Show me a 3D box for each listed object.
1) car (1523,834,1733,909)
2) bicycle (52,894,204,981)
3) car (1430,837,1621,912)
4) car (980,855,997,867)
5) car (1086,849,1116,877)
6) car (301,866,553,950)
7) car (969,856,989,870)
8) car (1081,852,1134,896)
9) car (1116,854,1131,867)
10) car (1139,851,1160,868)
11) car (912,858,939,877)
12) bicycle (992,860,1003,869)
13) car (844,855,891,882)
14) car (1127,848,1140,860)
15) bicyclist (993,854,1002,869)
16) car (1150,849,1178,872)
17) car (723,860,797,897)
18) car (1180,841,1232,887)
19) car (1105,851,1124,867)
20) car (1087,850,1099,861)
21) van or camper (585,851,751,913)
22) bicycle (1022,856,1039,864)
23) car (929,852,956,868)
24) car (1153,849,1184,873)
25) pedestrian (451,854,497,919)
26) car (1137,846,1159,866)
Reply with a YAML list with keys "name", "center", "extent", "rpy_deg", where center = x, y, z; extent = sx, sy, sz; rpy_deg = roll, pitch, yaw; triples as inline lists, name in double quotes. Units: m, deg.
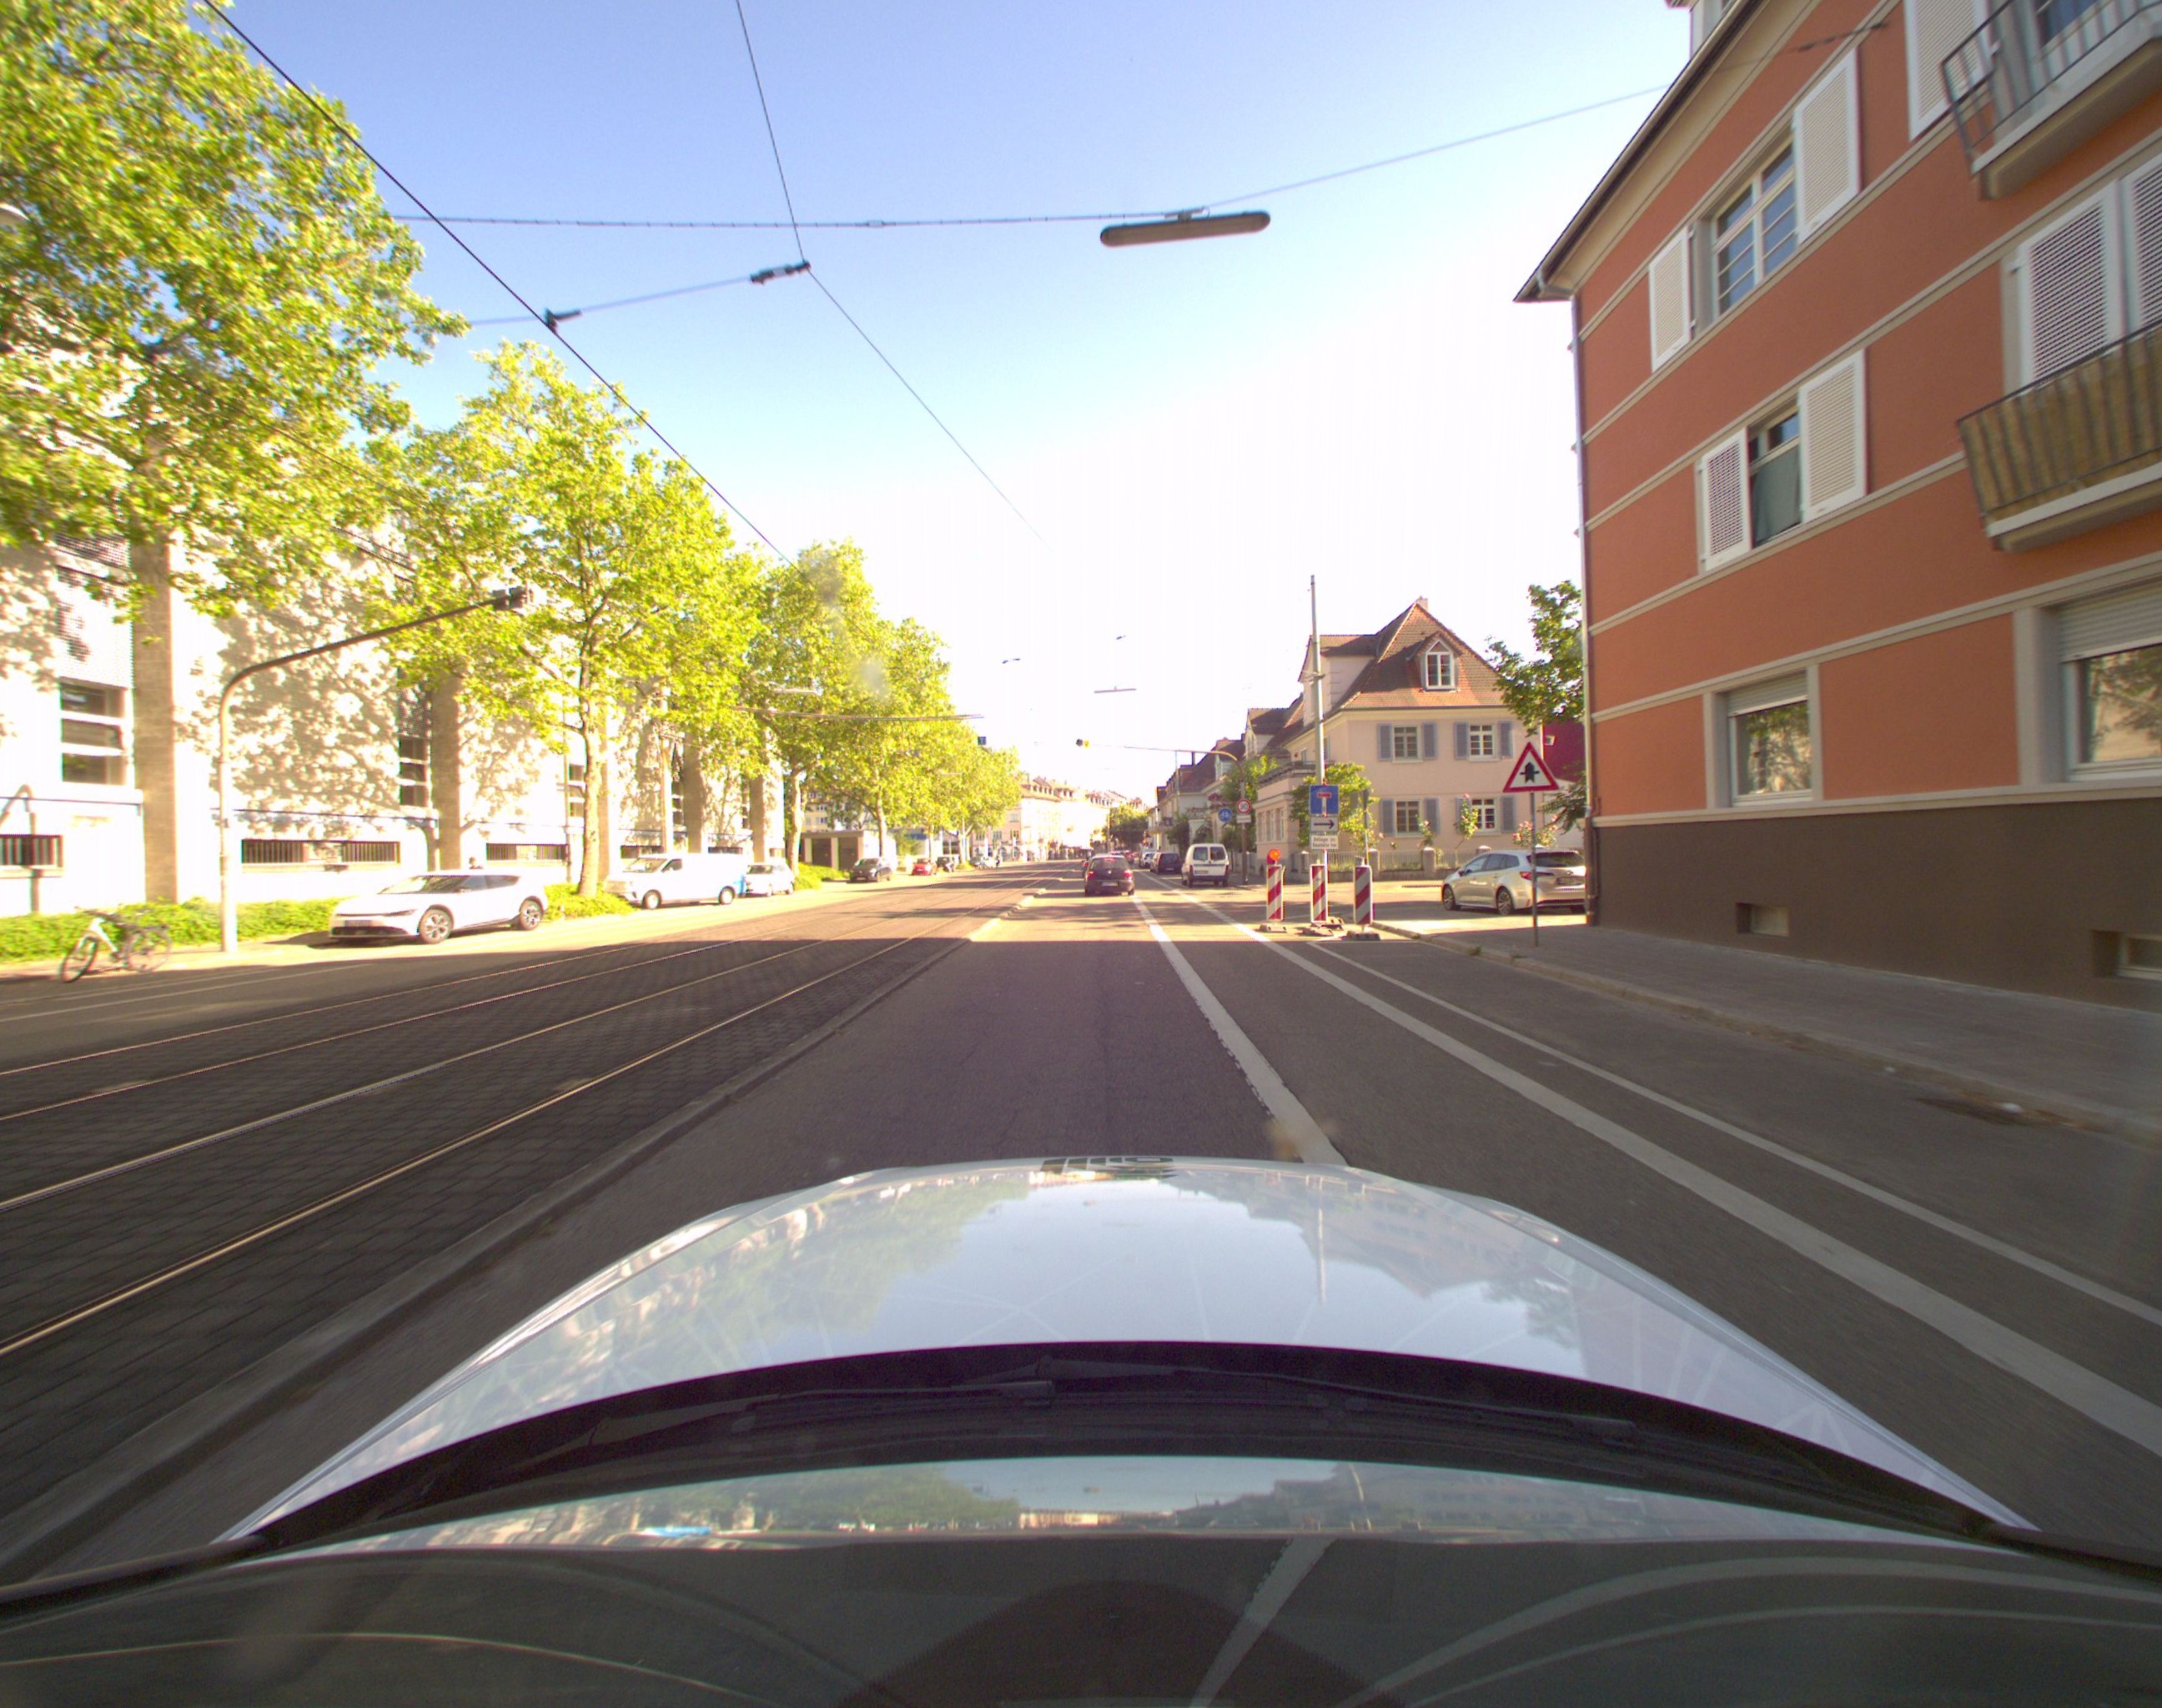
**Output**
- name: "car"
  center: [12.413, 0.444, 18.908]
  extent: [1.768, 1.458, 4.514]
  rpy_deg: [-2, -2, 0]
- name: "bicycle"
  center: [-15.302, 1.304, 13.142]
  extent: [0.580, 1.209, 1.651]
  rpy_deg: [0, 0, -5]
- name: "car"
  center: [9.591, 0.479, 18.059]
  extent: [1.697, 1.389, 4.514]
  rpy_deg: [-2, -2, 0]
- name: "car"
  center: [-11.892, 0.929, 105.012]
  extent: [1.630, 1.472, 3.730]
  rpy_deg: [-1, 0, 1]
- name: "car"
  center: [1.248, 0.525, 49.585]
  extent: [1.742, 1.537, 3.893]
  rpy_deg: [-2, 0, 2]
- name: "car"
  center: [-14.667, 1.120, 18.720]
  extent: [2.005, 1.572, 4.693]
  rpy_deg: [0, 1, 0]
- name: "car"
  center: [-12.293, 1.093, 98.672]
  extent: [1.877, 1.669, 3.804]
  rpy_deg: [0, 1, 0]
- name: "car"
  center: [0.887, 0.662, 29.011]
  extent: [1.743, 1.375, 4.000]
  rpy_deg: [-2, 0, 0]
- name: "car"
  center: [5.096, 0.793, 98.527]
  extent: [1.630, 1.472, 3.730]
  rpy_deg: [-1, 0, 1]
- name: "car"
  center: [6.020, 0.463, 72.028]
  extent: [1.574, 1.375, 4.001]
  rpy_deg: [-1, 0, 1]
- name: "car"
  center: [-13.327, 1.129, 69.871]
  extent: [1.564, 1.533, 3.573]
  rpy_deg: [-1, -1, 1]
- name: "bicycle"
  center: [-10.227, 1.279, 99.793]
  extent: [0.910, 1.083, 3.204]
  rpy_deg: [0, 1, 1]
- name: "car"
  center: [-13.905, 0.932, 53.327]
  extent: [1.881, 1.666, 4.001]
  rpy_deg: [-1, 0, 1]
- name: "car"
  center: [7.017, -0.037, 109.183]
  extent: [1.630, 1.472, 3.730]
  rpy_deg: [-1, 0, 1]
- name: "bicyclist"
  center: [-10.222, 0.901, 99.759]
  extent: [0.910, 1.833, 0.960]
  rpy_deg: [0, 0, 1]
- name: "car"
  center: [5.941, 0.434, 58.620]
  extent: [1.742, 1.537, 3.957]
  rpy_deg: [-2, 0, 2]
- name: "car"
  center: [-14.303, 1.049, 36.531]
  extent: [1.568, 1.507, 4.091]
  rpy_deg: [0, 1, 1]
- name: "car"
  center: [5.240, 0.383, 34.508]
  extent: [1.752, 1.837, 3.549]
  rpy_deg: [0, 1, 1]
- name: "car"
  center: [3.150, 0.470, 76.889]
  extent: [1.630, 1.472, 3.730]
  rpy_deg: [-1, 0, 1]
- name: "car"
  center: [1.697, 0.184, 116.409]
  extent: [1.630, 1.472, 3.730]
  rpy_deg: [-1, 0, 1]
- name: "van or camper"
  center: [-14.541, 0.892, 29.071]
  extent: [2.042, 1.949, 5.217]
  rpy_deg: [1, 1, 21]
- name: "bicycle"
  center: [-8.075, 0.900, 130.867]
  extent: [2.733, 1.262, 0.706]
  rpy_deg: [0, 0, 1]
- name: "car"
  center: [-13.428, 0.590, 79.098]
  extent: [1.786, 1.465, 3.837]
  rpy_deg: [1, 0, 1]
- name: "car"
  center: [5.796, 0.438, 54.268]
  extent: [1.655, 1.526, 4.037]
  rpy_deg: [-1, 0, 1]
- name: "pedestrian"
  center: [-17.232, 0.912, 23.120]
  extent: [0.794, 1.820, 0.670]
  rpy_deg: [0, 0, 1]
- name: "car"
  center: [6.306, 0.178, 76.885]
  extent: [1.811, 1.799, 4.001]
  rpy_deg: [-1, 0, 1]
